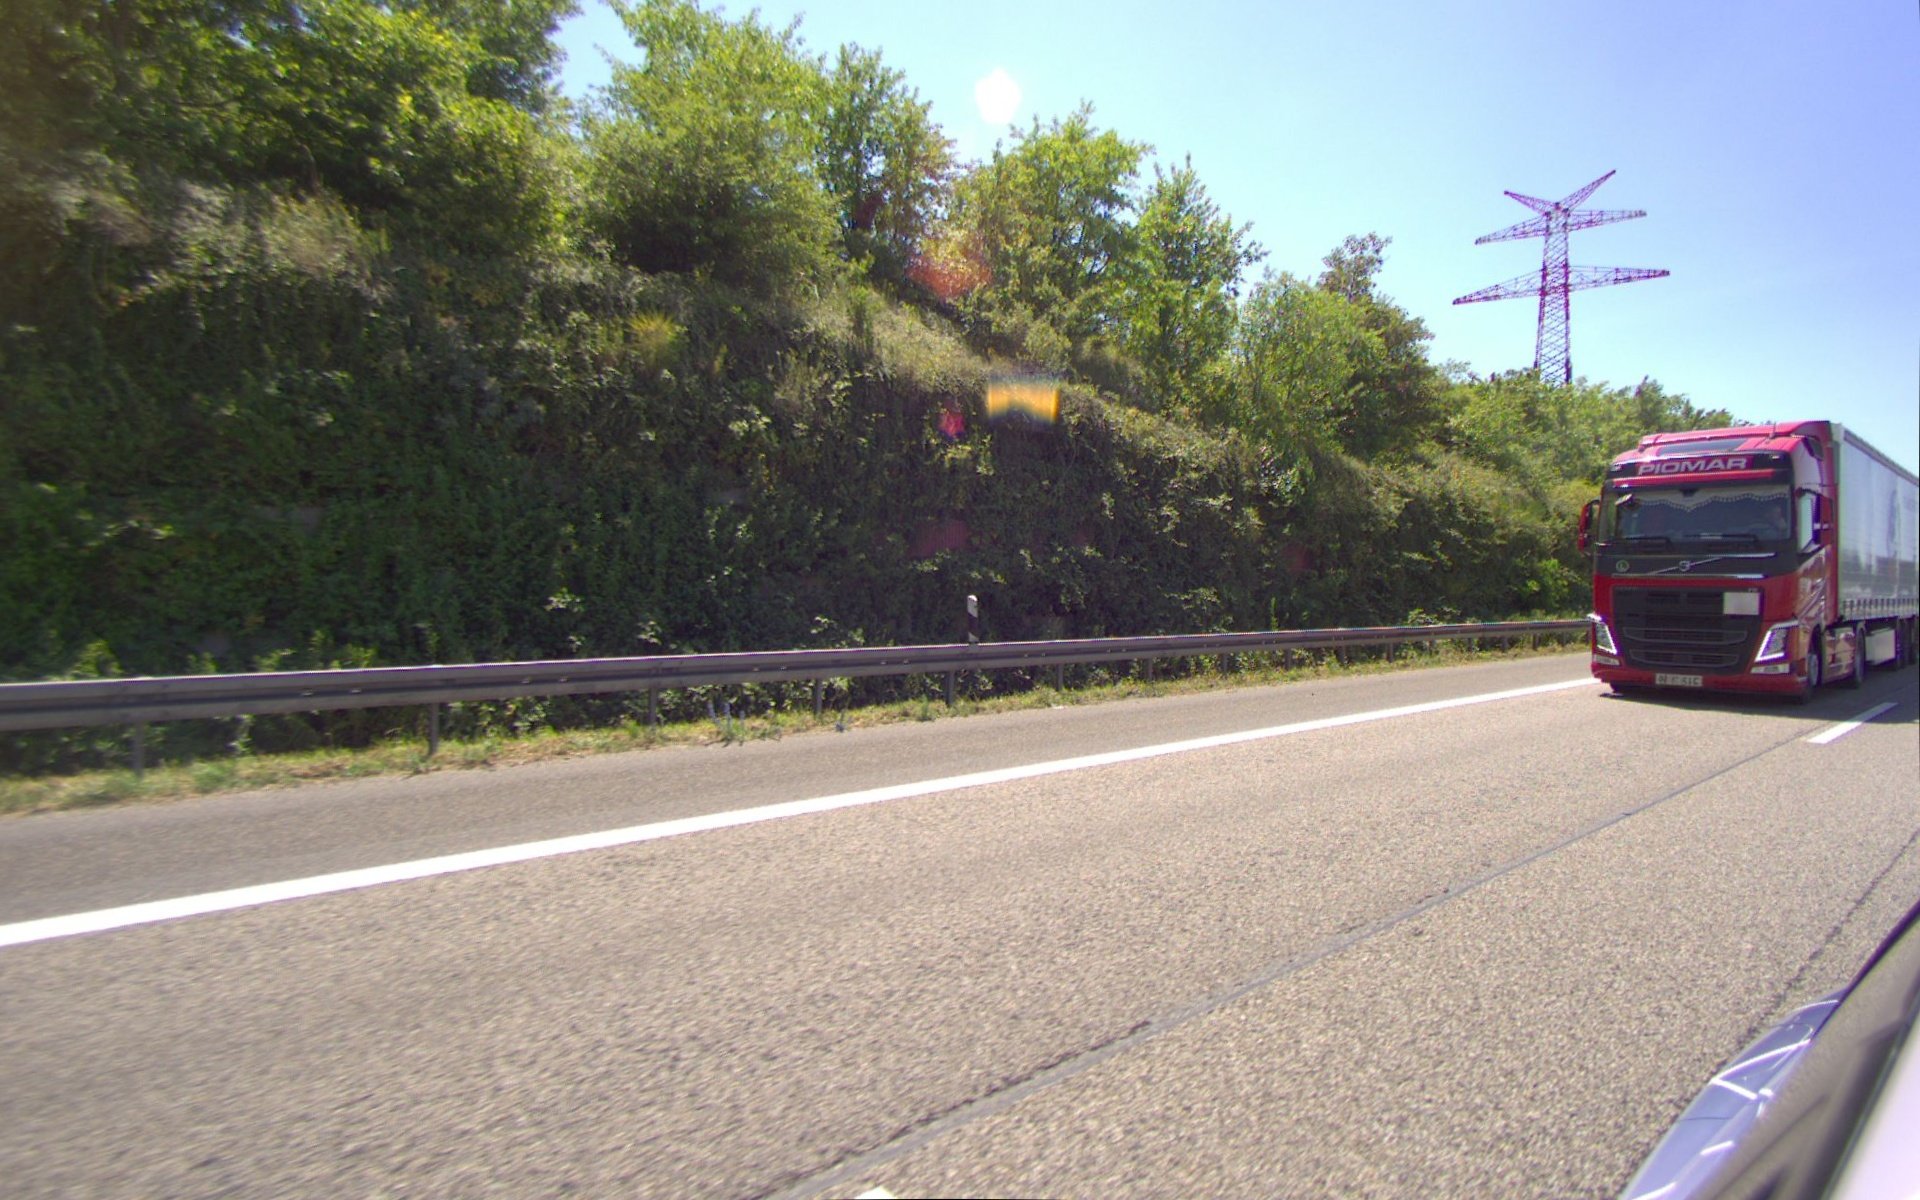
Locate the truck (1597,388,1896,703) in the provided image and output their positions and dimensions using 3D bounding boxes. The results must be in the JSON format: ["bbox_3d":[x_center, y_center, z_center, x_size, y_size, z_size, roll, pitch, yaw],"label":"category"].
[{"bbox_3d":[12.653,-0.729,16.019,6.974,3.969,2.503,0,1,-42],"label":"truck"}]

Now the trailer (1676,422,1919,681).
[{"bbox_3d":[18.330,-0.804,21.057,13.999,3.958,2.494,0,1,-42],"label":"trailer"}]
